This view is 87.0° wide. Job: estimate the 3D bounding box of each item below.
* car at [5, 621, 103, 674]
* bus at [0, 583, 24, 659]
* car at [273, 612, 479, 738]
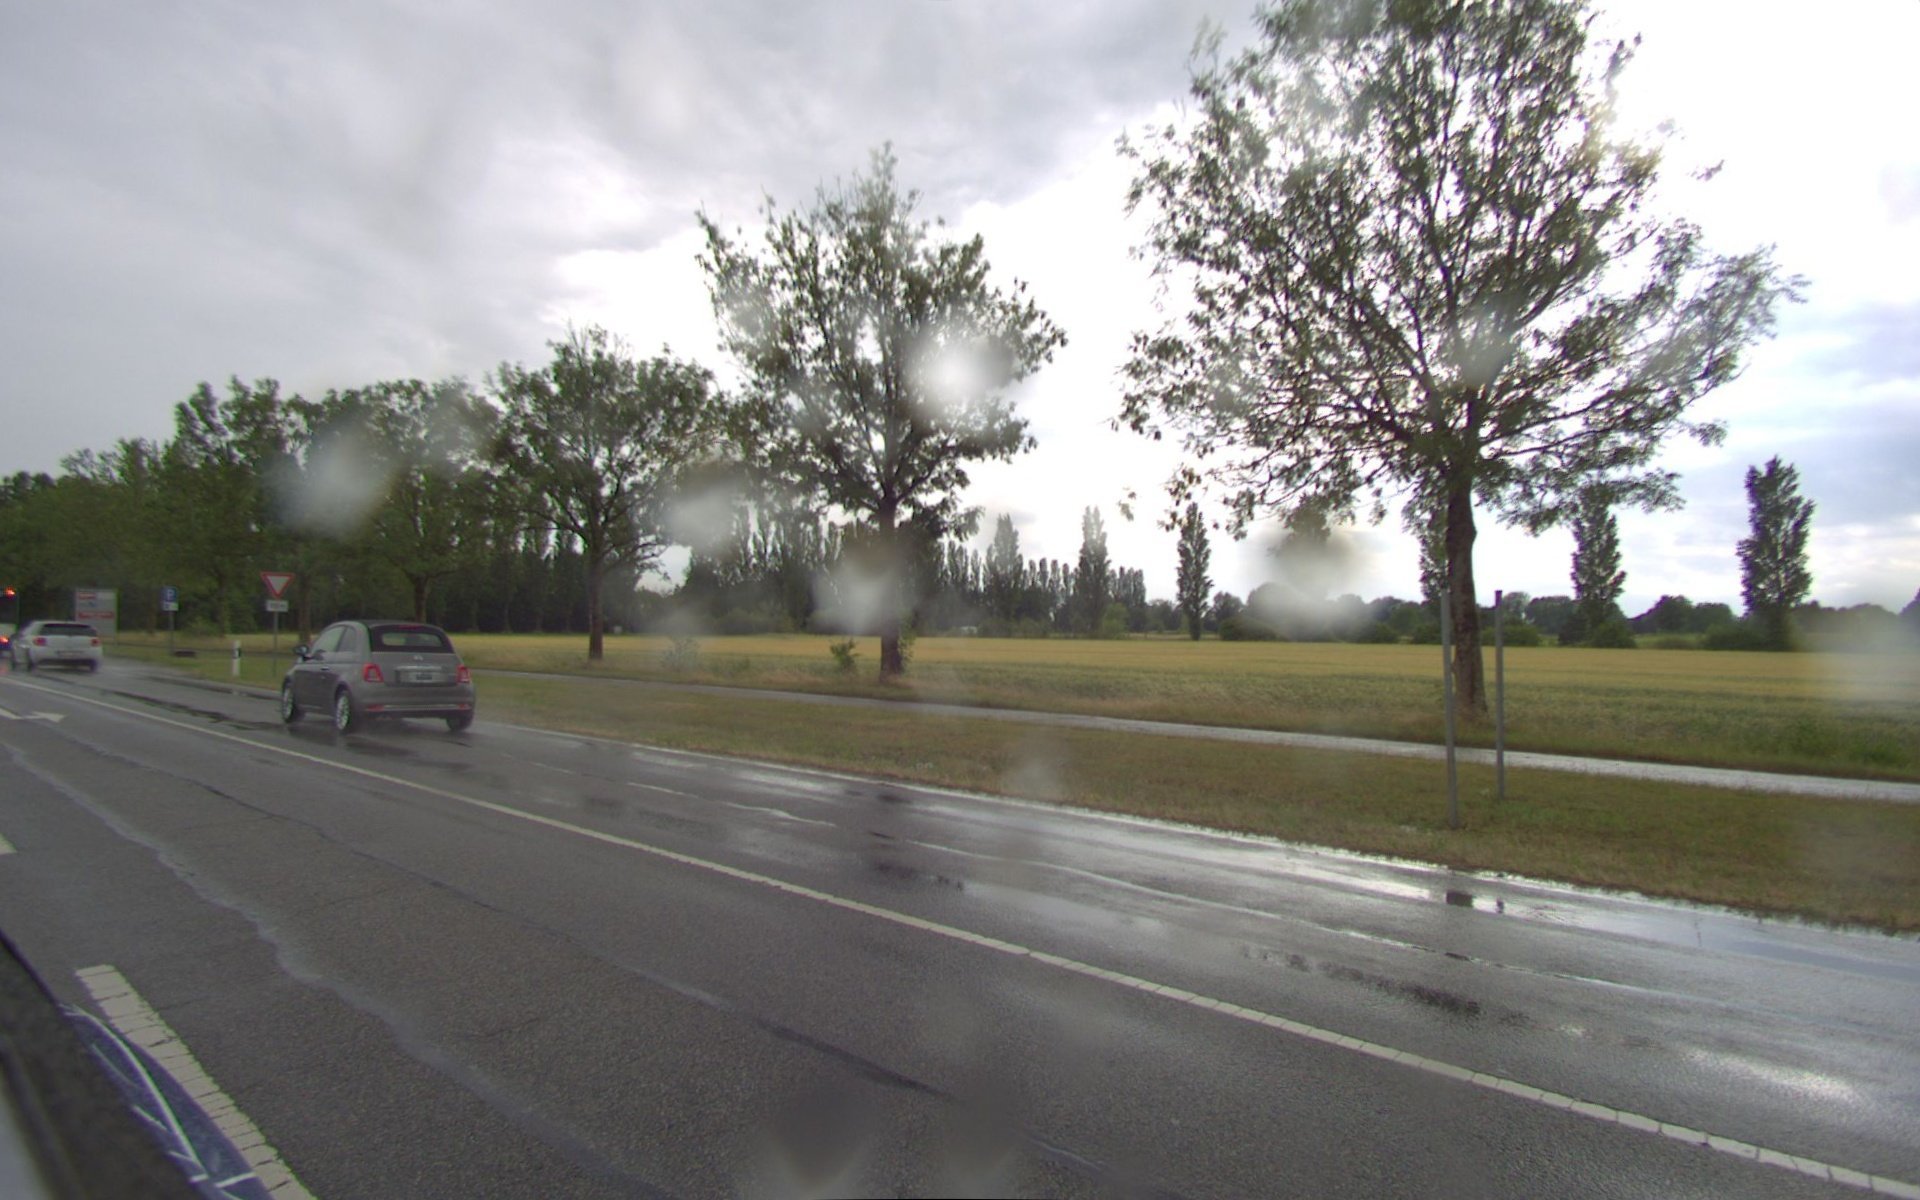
[{"bbox_3d":[-26.877,1.403,29.997,3.459,1.461,1.651,-1,-4,41],"label":"car"},{"bbox_3d":[-42.362,0.850,42.445,12.464,2.934,2.921,-1,-3,40],"label":"bus"},{"bbox_3d":[-8.187,0.987,14.098,3.300,1.541,1.484,-1,-4,42],"label":"car"}]
